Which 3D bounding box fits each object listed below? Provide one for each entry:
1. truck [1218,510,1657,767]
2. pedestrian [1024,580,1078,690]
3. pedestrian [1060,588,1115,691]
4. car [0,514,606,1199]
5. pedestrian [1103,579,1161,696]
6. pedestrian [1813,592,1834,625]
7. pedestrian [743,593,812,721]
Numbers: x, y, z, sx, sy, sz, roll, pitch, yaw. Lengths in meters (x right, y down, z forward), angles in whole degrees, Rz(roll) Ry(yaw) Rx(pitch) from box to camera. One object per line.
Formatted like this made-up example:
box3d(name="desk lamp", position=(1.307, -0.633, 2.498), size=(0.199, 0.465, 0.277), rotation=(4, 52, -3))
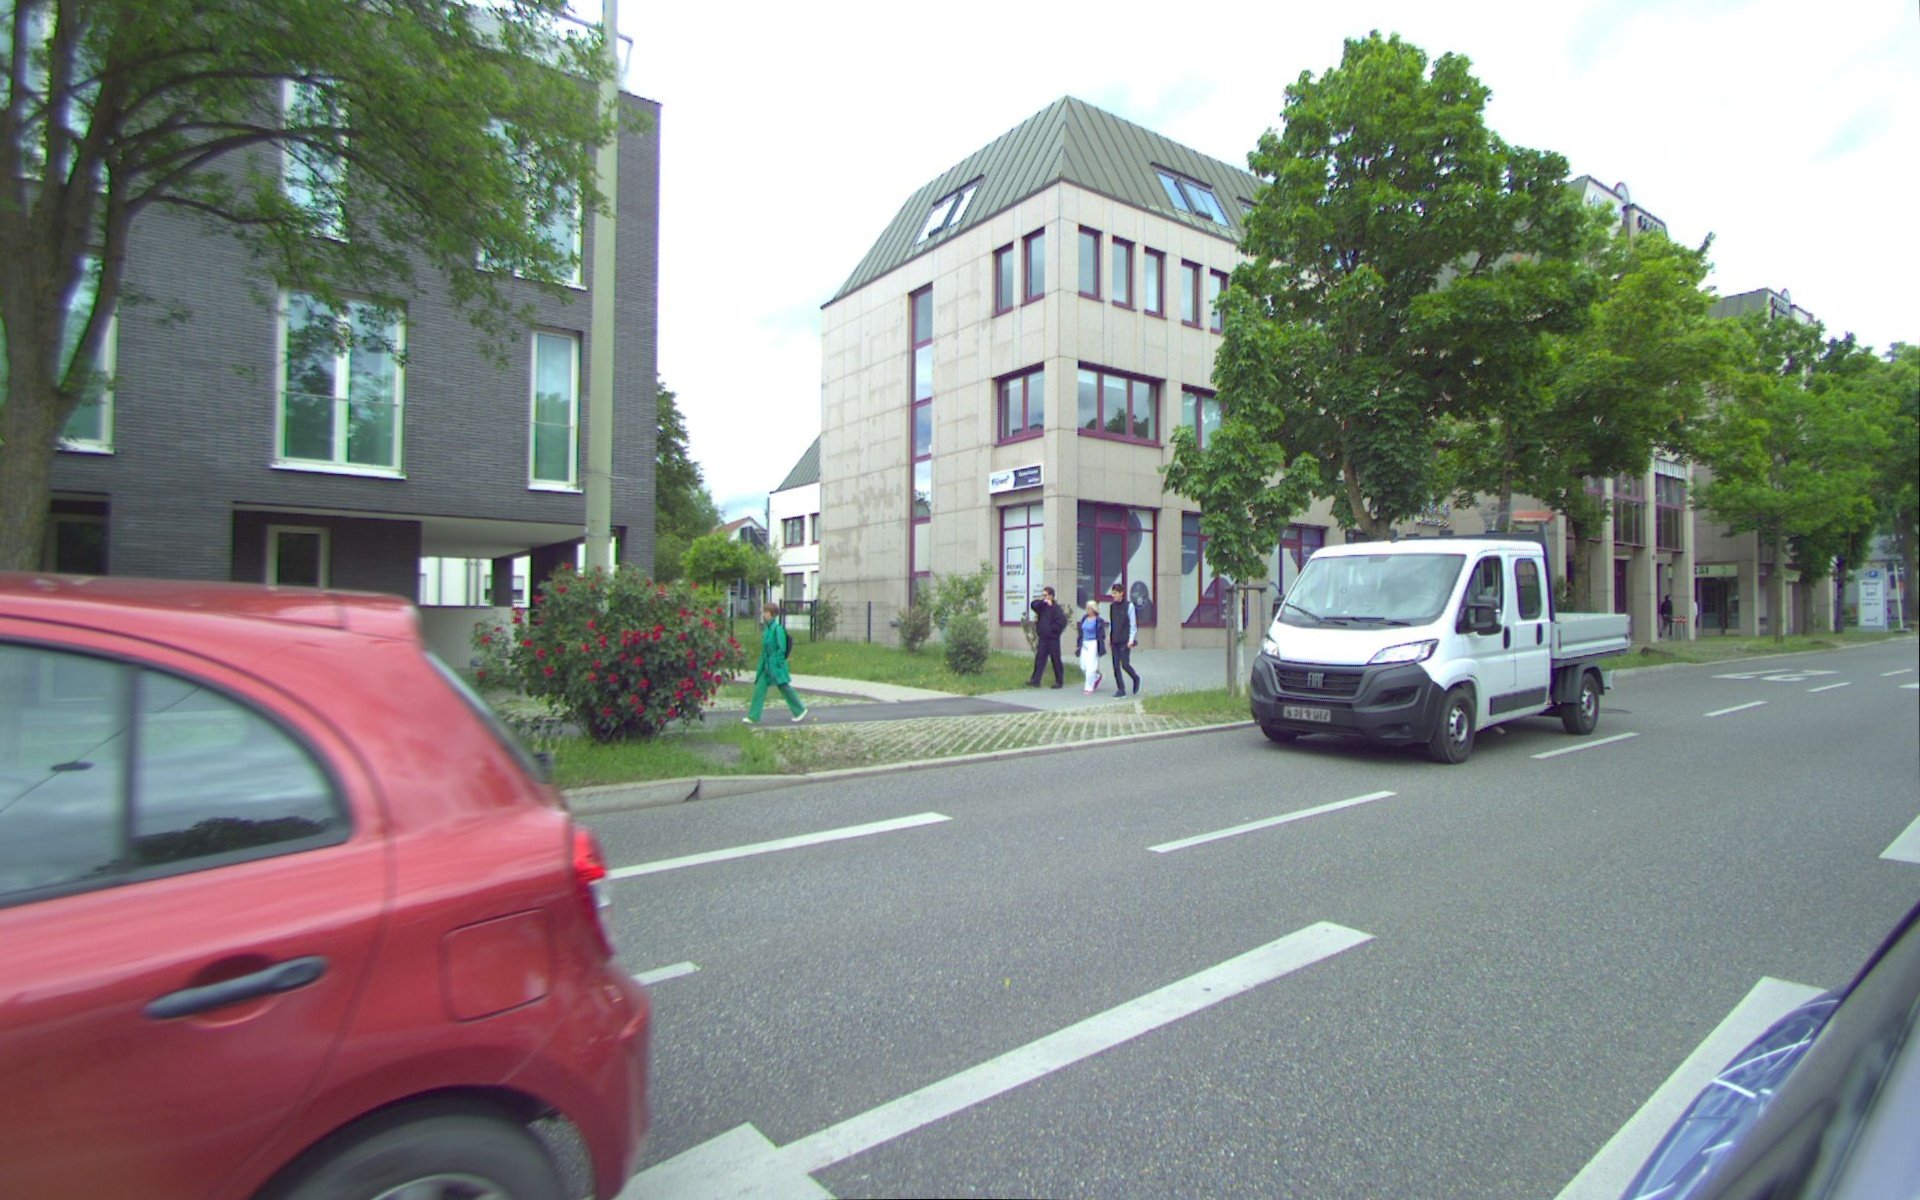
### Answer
box3d(name="truck", position=(5.617, 0.326, 11.491), size=(5.738, 2.231, 2.216), rotation=(0, 0, -39))
box3d(name="pedestrian", position=(1.560, 0.585, 17.372), size=(0.665, 1.828, 0.642), rotation=(0, -1, -40))
box3d(name="pedestrian", position=(2.129, 0.639, 16.897), size=(0.665, 1.668, 0.642), rotation=(0, -1, -40))
box3d(name="car", position=(-2.620, 0.665, 1.217), size=(3.791, 1.577, 1.719), rotation=(0, 1, -41))
box3d(name="pedestrian", position=(2.767, 0.589, 16.316), size=(0.665, 1.828, 0.642), rotation=(0, -1, -40))
box3d(name="pedestrian", position=(45.793, 0.447, 53.688), size=(0.817, 1.769, 0.718), rotation=(0, 0, -41))
box3d(name="pedestrian", position=(-2.303, 0.696, 12.767), size=(0.665, 1.537, 0.496), rotation=(0, 2, -41))
